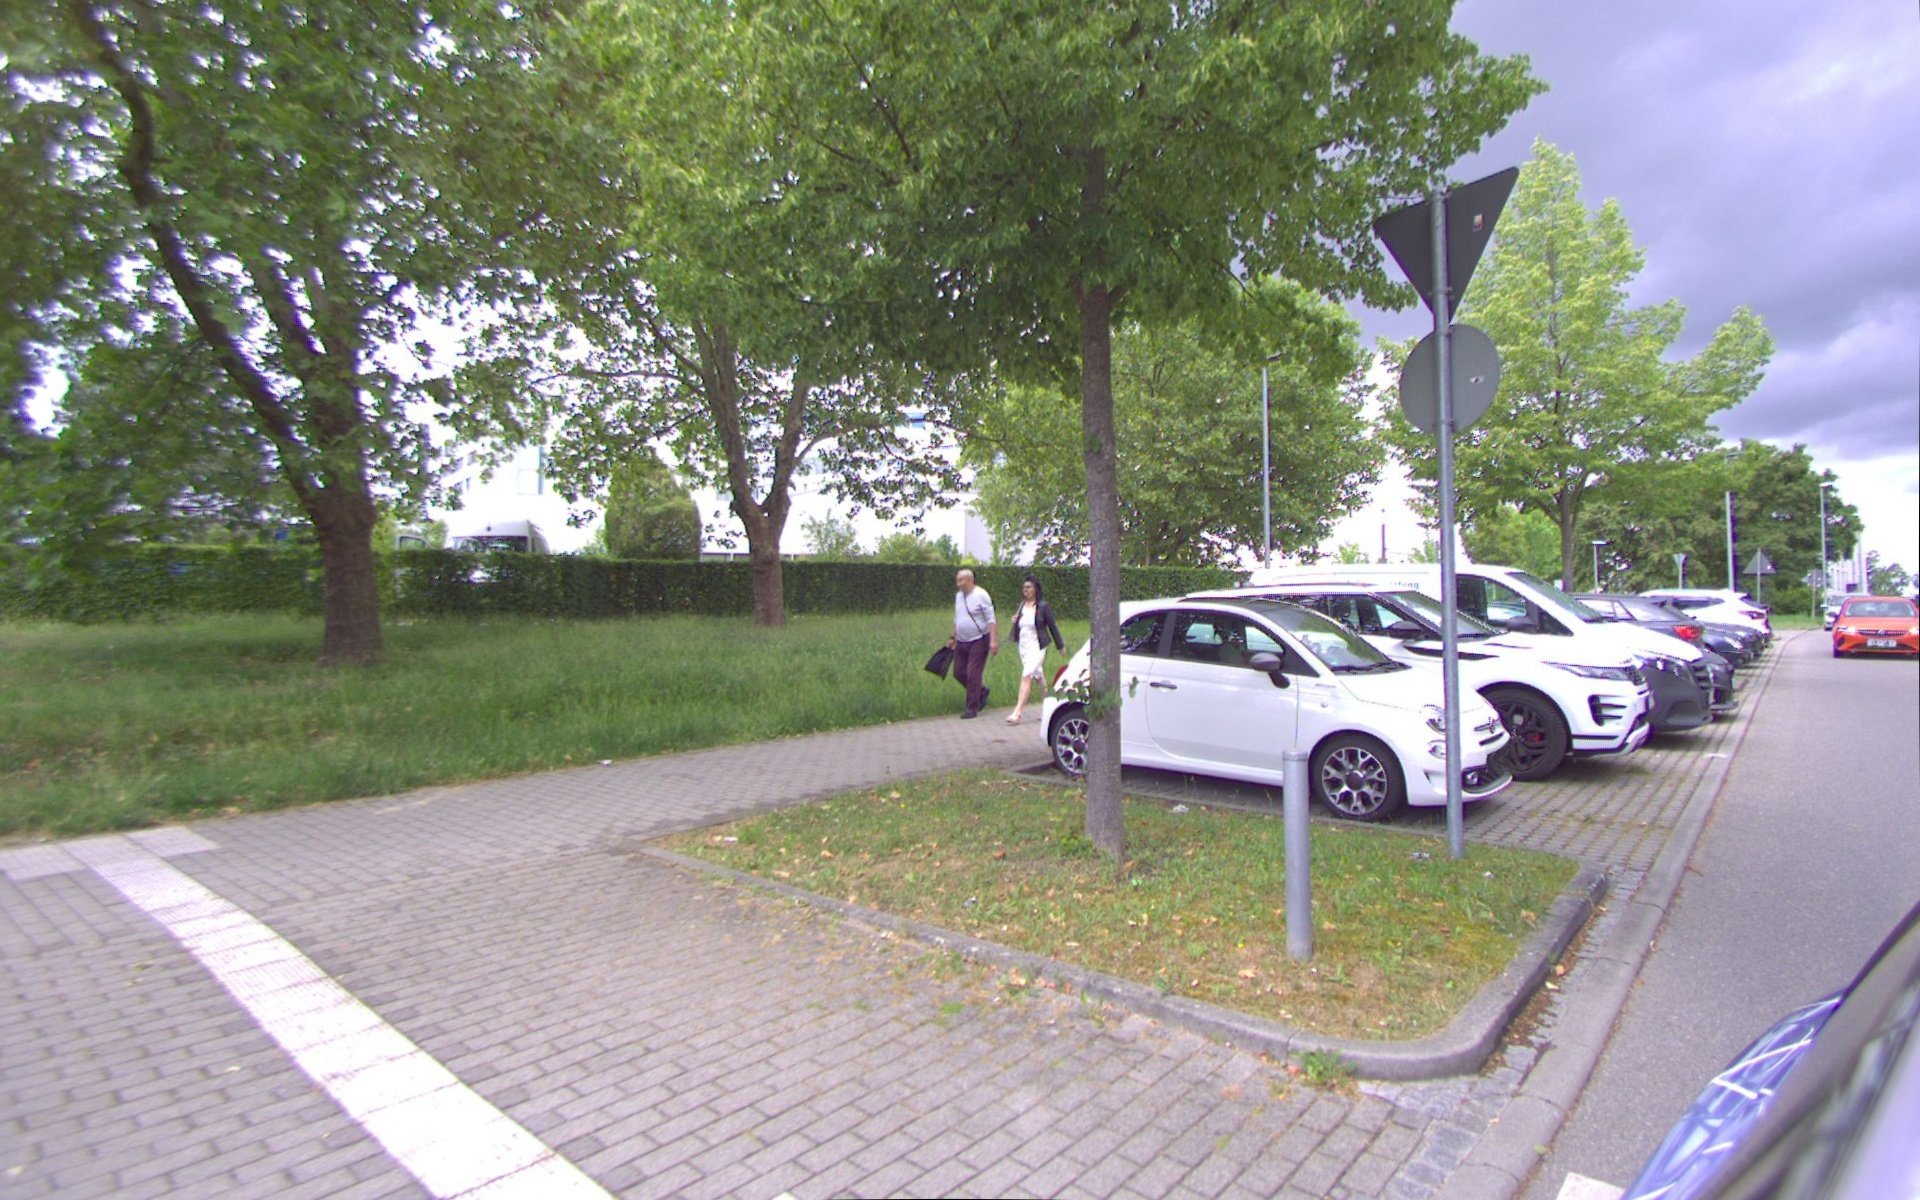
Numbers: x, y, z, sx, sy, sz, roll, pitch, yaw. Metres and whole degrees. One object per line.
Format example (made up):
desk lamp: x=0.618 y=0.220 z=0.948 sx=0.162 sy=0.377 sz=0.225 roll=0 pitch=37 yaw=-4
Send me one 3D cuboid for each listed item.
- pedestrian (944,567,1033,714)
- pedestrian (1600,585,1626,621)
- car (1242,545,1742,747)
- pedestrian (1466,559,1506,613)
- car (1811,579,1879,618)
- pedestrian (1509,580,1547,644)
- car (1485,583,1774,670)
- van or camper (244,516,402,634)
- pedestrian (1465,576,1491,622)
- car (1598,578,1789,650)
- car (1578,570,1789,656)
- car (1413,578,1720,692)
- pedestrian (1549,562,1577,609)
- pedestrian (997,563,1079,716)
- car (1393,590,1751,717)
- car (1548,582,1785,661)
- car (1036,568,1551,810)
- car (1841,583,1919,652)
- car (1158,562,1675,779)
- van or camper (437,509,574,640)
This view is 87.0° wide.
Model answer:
pedestrian: x=0.333 y=0.469 z=12.059 sx=0.868 sy=1.678 sz=0.584 roll=-2 pitch=-2 yaw=41
pedestrian: x=32.297 y=0.150 z=50.083 sx=0.751 sy=1.744 sz=0.883 roll=-1 pitch=-1 yaw=13
car: x=5.856 y=0.373 z=11.624 sx=4.775 sy=1.854 sz=1.813 roll=1 pitch=1 yaw=45
pedestrian: x=16.421 y=-0.424 z=31.629 sx=0.676 sy=1.642 sz=0.932 roll=-1 pitch=-1 yaw=-3
car: x=37.132 y=-0.050 z=42.444 sx=3.933 sy=1.535 sz=1.755 roll=0 pitch=-1 yaw=-43
pedestrian: x=16.465 y=0.355 z=29.346 sx=0.739 sy=1.816 sz=0.865 roll=-2 pitch=-2 yaw=42
car: x=13.034 y=0.456 z=19.866 sx=4.567 sy=1.511 sz=1.924 roll=0 pitch=0 yaw=40
van or camper: x=-16.612 y=-0.578 z=26.692 sx=2.071 sy=2.834 sz=4.487 roll=-1 pitch=-1 yaw=-11
pedestrian: x=19.780 y=-0.031 z=38.650 sx=0.694 sy=1.733 sz=0.654 roll=0 pitch=-2 yaw=-42
car: x=18.294 y=0.333 z=25.341 sx=3.670 sy=1.593 sz=1.569 roll=-1 pitch=2 yaw=44
car: x=16.631 y=0.238 z=23.357 sx=3.673 sy=1.667 sz=1.822 roll=5 pitch=3 yaw=44
car: x=9.319 y=0.436 z=15.687 sx=3.821 sy=1.539 sz=1.883 roll=1 pitch=1 yaw=42
pedestrian: x=19.720 y=-0.466 z=33.097 sx=0.618 sy=1.487 sz=0.724 roll=-2 pitch=-2 yaw=42
pedestrian: x=0.890 y=0.444 z=11.556 sx=0.688 sy=1.678 sz=0.591 roll=-2 pitch=-2 yaw=41
car: x=7.972 y=0.586 z=13.345 sx=3.820 sy=1.388 sz=1.816 roll=1 pitch=1 yaw=40
car: x=15.127 y=0.446 z=21.766 sx=3.982 sy=1.538 sz=1.856 roll=-2 pitch=0 yaw=41
car: x=2.505 y=0.558 z=8.038 sx=3.509 sy=1.480 sz=1.712 roll=-1 pitch=-1 yaw=42
car: x=22.620 y=0.386 z=24.337 sx=3.933 sy=1.535 sz=1.755 roll=0 pitch=-1 yaw=-43
car: x=4.138 y=0.570 z=9.594 sx=4.145 sy=1.623 sz=1.713 roll=-2 pitch=-1 yaw=41
van or camper: x=-10.763 y=-0.525 z=24.331 sx=2.071 sy=2.834 sz=4.487 roll=-1 pitch=-1 yaw=-11
